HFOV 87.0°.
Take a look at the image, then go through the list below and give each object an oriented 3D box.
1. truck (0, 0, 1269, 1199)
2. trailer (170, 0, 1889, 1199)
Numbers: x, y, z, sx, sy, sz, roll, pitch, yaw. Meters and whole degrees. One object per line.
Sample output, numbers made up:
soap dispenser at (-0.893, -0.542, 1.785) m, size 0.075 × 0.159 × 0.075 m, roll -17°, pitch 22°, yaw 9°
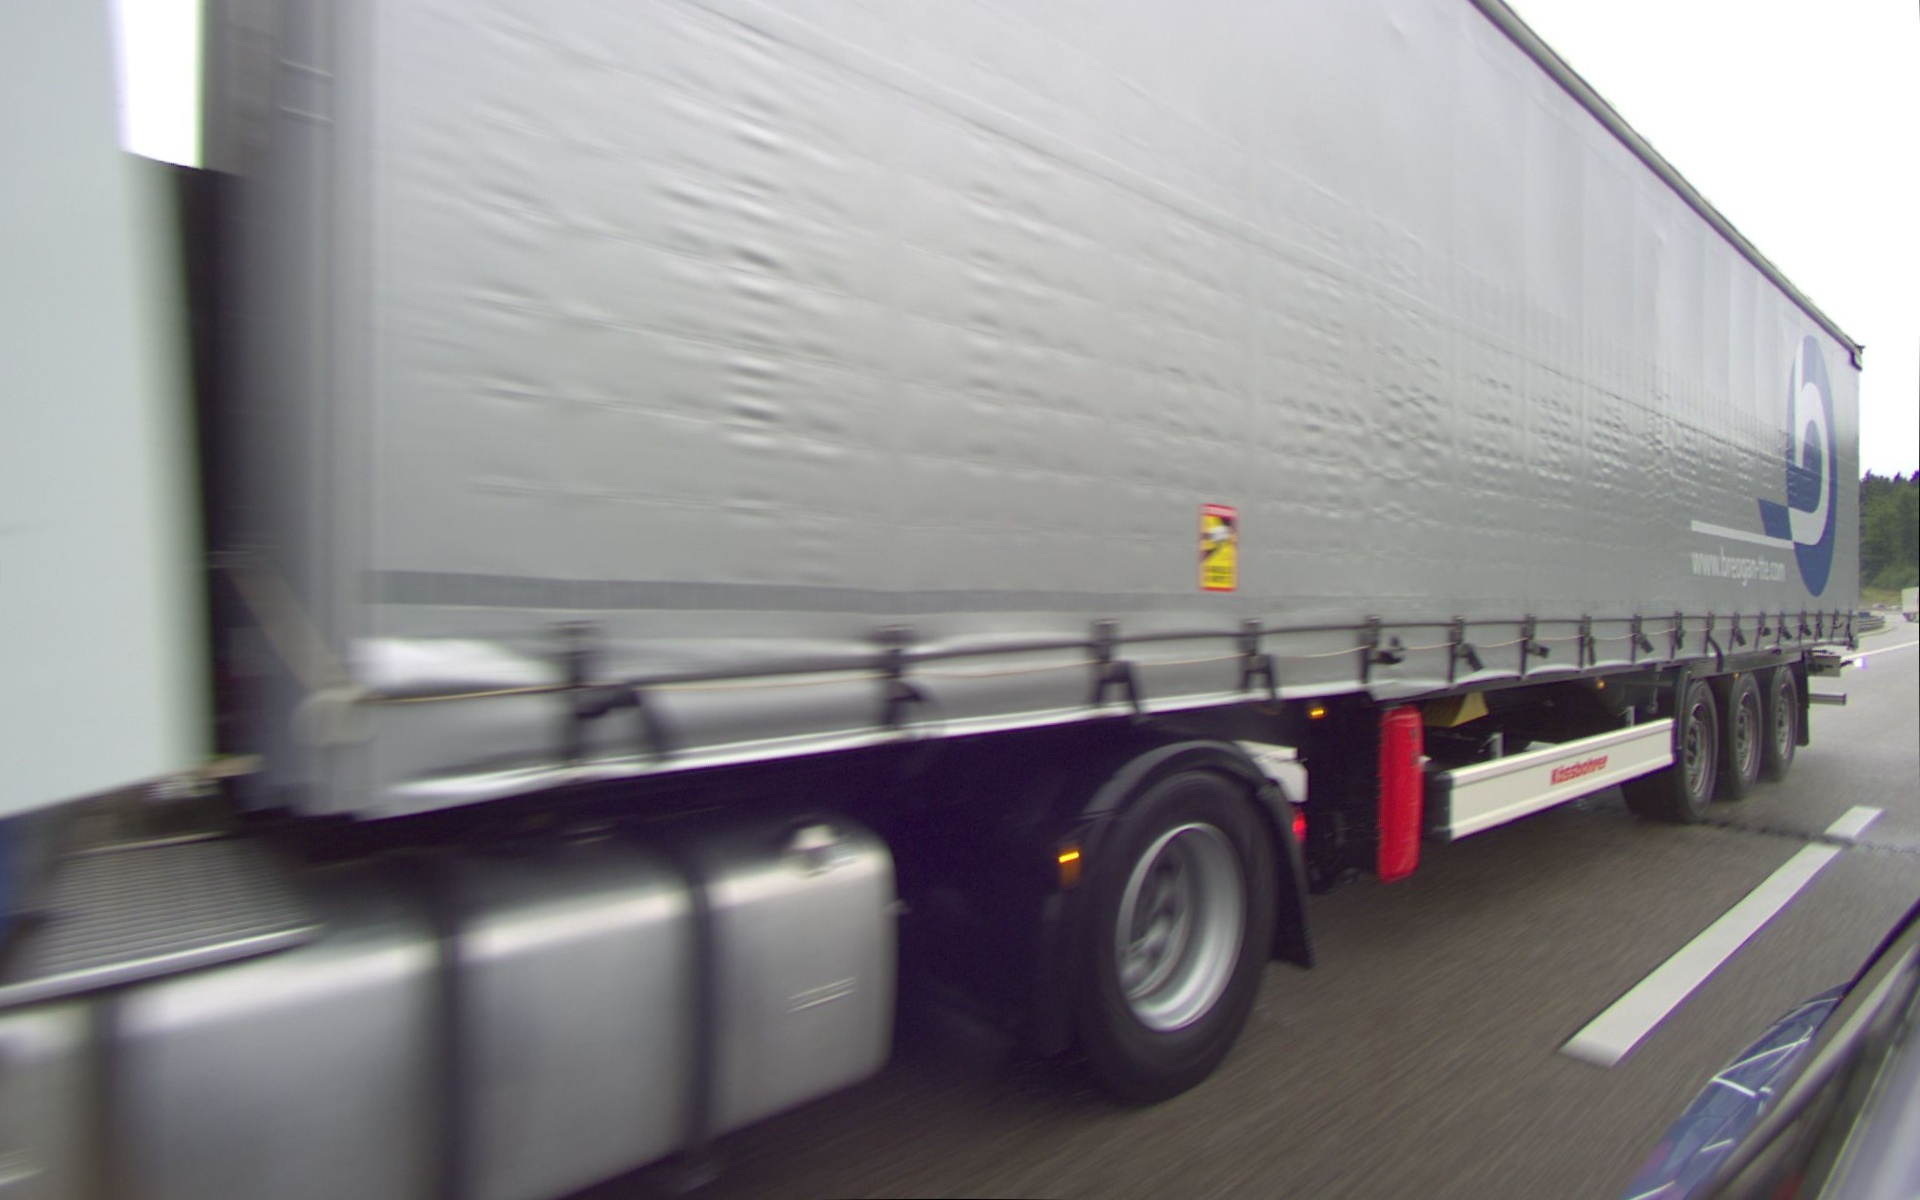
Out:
truck at (-2.214, -0.684, 1.806) m, size 5.652 × 4.092 × 2.726 m, roll 1°, pitch 0°, yaw -41°
trailer at (3.366, -0.642, 6.735) m, size 13.465 × 4.092 × 2.684 m, roll 0°, pitch 0°, yaw -41°
